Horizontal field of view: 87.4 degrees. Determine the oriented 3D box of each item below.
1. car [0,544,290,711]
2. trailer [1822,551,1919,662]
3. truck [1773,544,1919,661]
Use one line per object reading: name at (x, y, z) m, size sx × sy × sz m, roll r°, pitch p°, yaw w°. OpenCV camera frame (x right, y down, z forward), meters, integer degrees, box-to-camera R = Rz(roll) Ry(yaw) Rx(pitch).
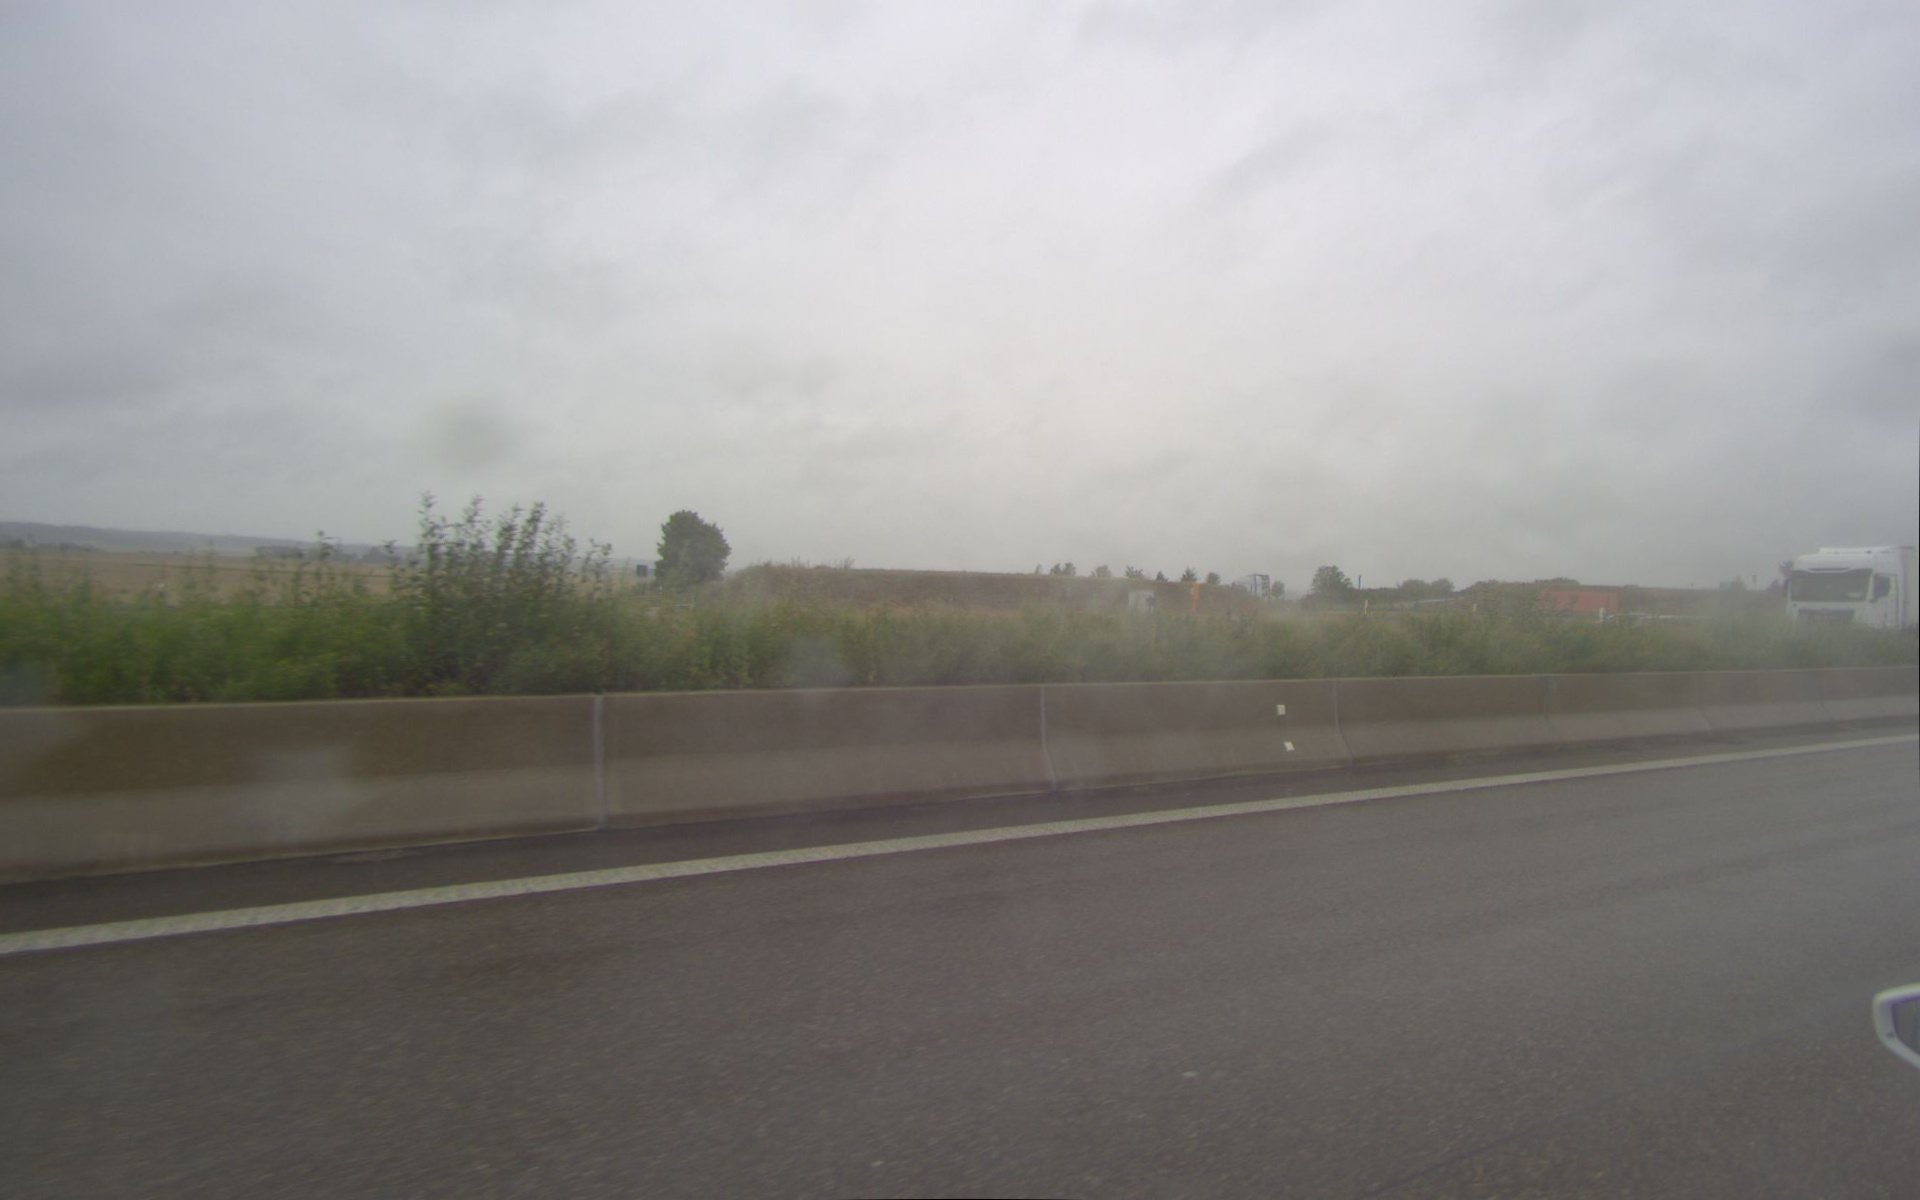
car at (-9.041, 0.228, 9.846) m, size 3.953 × 1.506 × 1.767 m, roll 1°, pitch 1°, yaw -30°
trailer at (38.449, 0.313, 39.456) m, size 12.254 × 3.904 × 2.805 m, roll 1°, pitch 1°, yaw -29°
truck at (31.686, 0.097, 35.671) m, size 4.761 × 3.899 × 2.747 m, roll 1°, pitch 1°, yaw -29°
